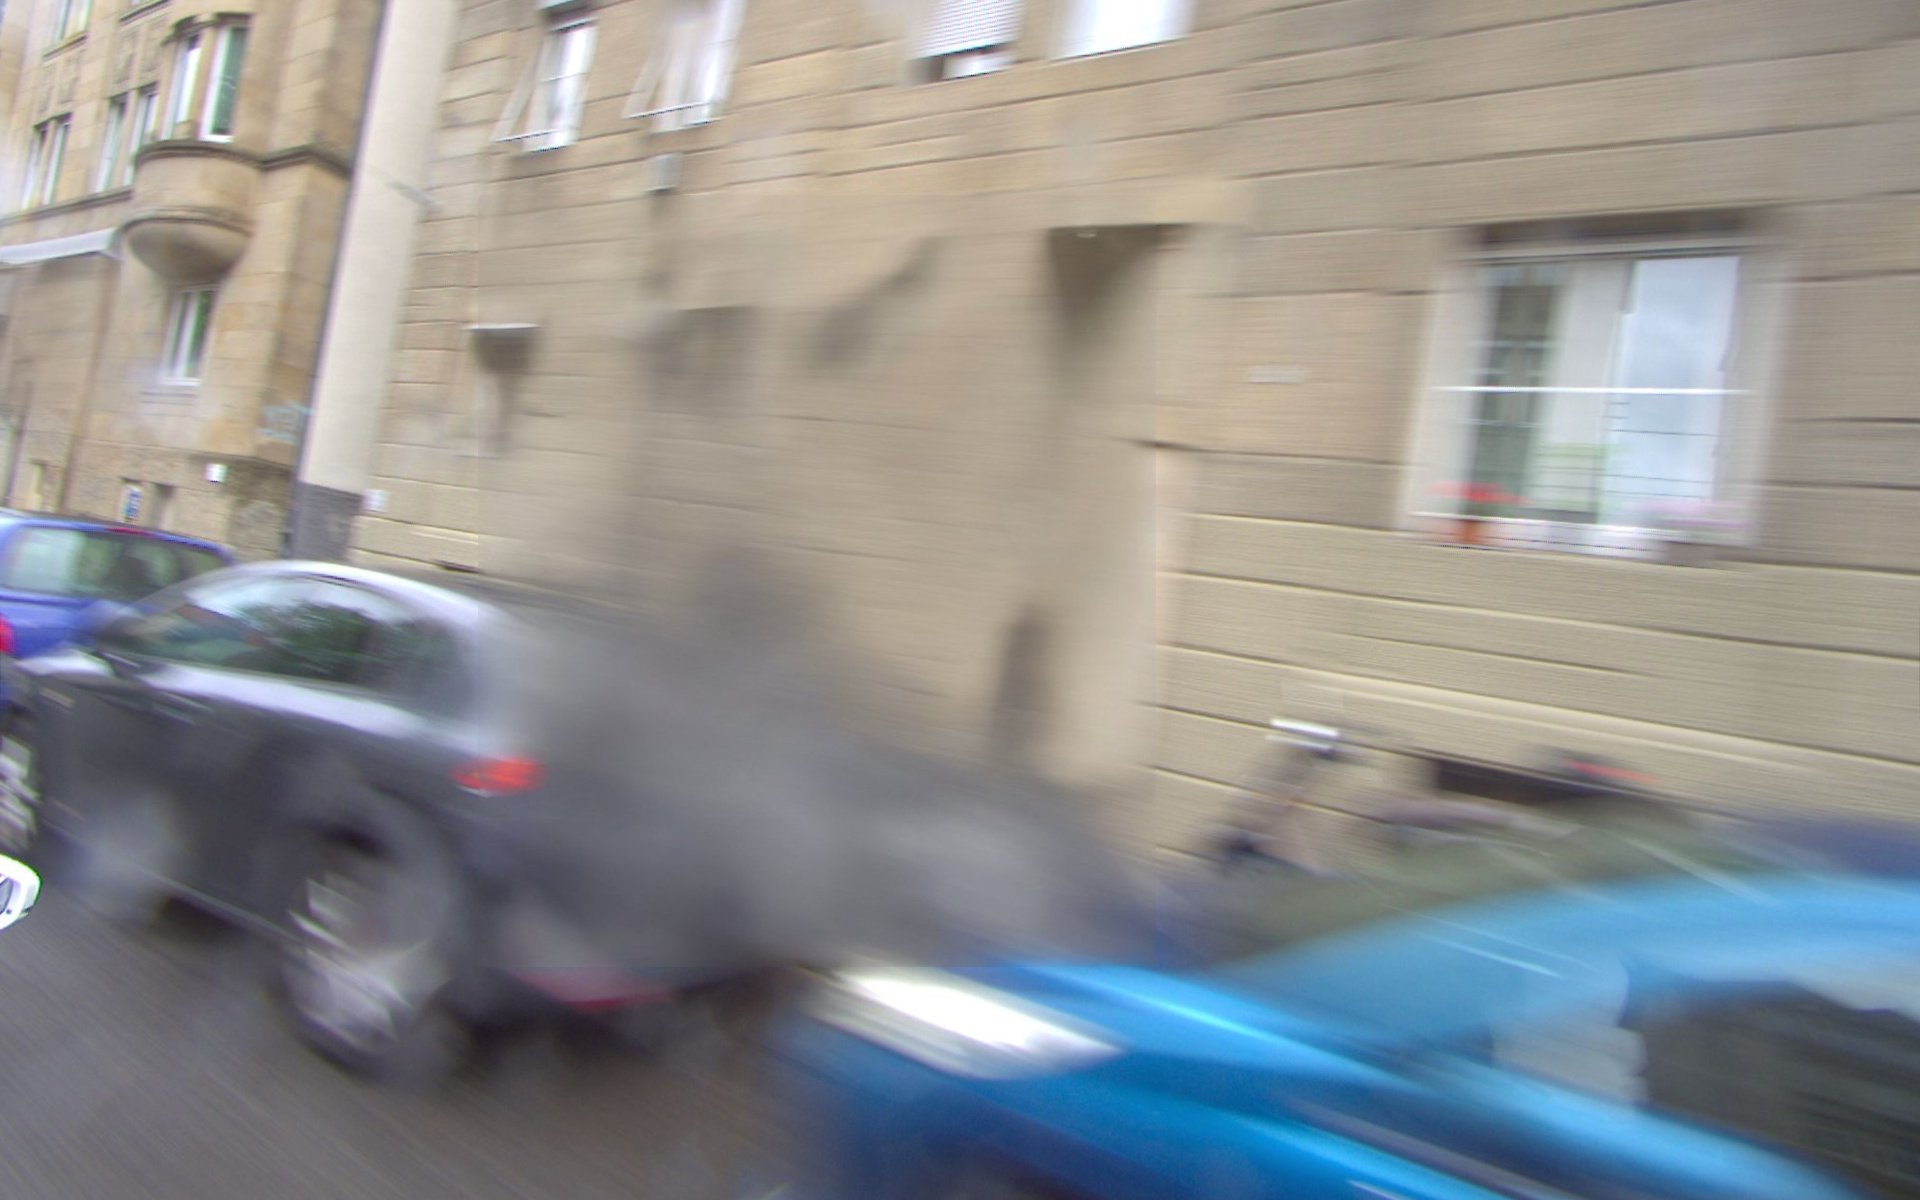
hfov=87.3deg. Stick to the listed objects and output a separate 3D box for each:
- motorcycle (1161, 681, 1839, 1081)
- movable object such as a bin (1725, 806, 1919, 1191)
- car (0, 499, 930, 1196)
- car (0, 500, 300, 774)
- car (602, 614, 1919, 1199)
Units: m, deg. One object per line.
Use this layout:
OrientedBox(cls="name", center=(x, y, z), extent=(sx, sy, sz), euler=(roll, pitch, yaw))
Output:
OrientedBox(cls="motorcycle", center=(2.484, 1.218, 5.039), extent=(2.700, 1.212, 0.706), euler=(7, -1, 32))
OrientedBox(cls="movable object such as a bin", center=(3.435, 1.397, 3.460), extent=(1.105, 1.115, 0.666), euler=(7, -2, 32))
OrientedBox(cls="car", center=(-2.367, 0.562, 4.191), extent=(4.015, 1.479, 1.792), euler=(7, -2, 31))
OrientedBox(cls="car", center=(-6.167, 0.093, 6.664), extent=(3.388, 1.431, 1.547), euler=(7, -2, 31))
OrientedBox(cls="car", center=(1.466, 1.023, 1.701), extent=(3.951, 1.414, 1.711), euler=(7, -2, 31))
